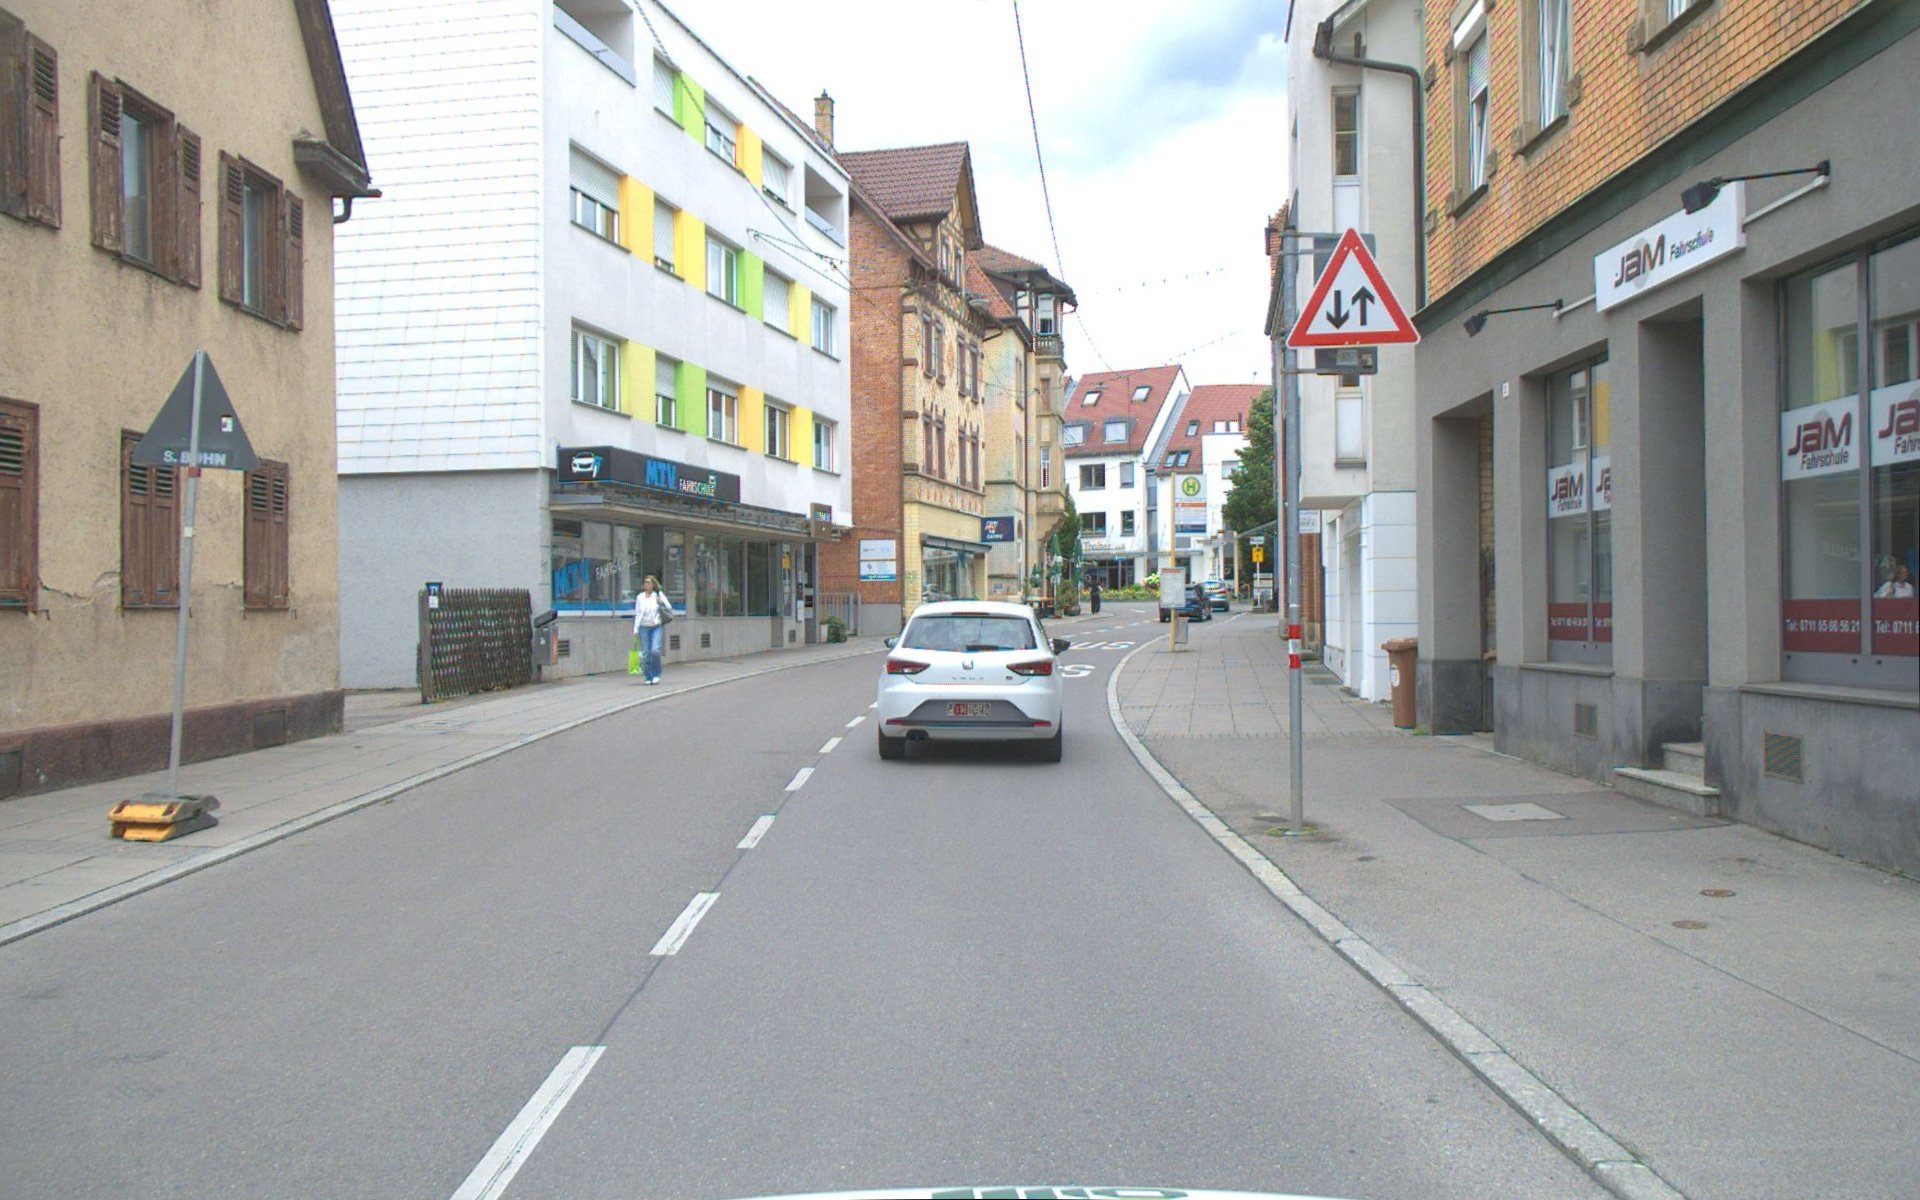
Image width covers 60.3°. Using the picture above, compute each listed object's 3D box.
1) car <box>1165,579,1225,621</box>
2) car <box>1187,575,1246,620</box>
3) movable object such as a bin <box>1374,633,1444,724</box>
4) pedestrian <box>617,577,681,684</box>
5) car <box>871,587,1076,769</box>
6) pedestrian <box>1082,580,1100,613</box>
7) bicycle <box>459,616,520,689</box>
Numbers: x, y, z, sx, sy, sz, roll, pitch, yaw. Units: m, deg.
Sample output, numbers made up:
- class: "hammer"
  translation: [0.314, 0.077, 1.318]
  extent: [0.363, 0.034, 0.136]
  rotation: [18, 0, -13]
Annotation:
- class: "car"
  translation: [9.237, -0.018, 64.733]
  extent: [1.773, 1.506, 3.873]
  rotation: [-1, 1, 16]
- class: "car"
  translation: [11.979, -0.135, 77.057]
  extent: [1.952, 2.049, 4.001]
  rotation: [-1, 0, 20]
- class: "movable object such as a bin"
  translation: [4.762, 0.827, 17.566]
  extent: [0.606, 0.937, 0.582]
  rotation: [-1, 0, 4]
- class: "pedestrian"
  translation: [-5.007, 0.483, 26.686]
  extent: [0.874, 1.694, 0.861]
  rotation: [-1, 0, -3]
- class: "car"
  translation: [0.193, 0.668, 16.431]
  extent: [1.774, 1.506, 3.872]
  rotation: [-1, 1, 2]
- class: "pedestrian"
  translation: [6.220, -0.157, 78.628]
  extent: [0.816, 1.579, 0.628]
  rotation: [-1, 0, 6]
- class: "bicycle"
  translation: [-7.418, 0.810, 26.138]
  extent: [0.316, 1.072, 1.750]
  rotation: [-1, 0, 5]
